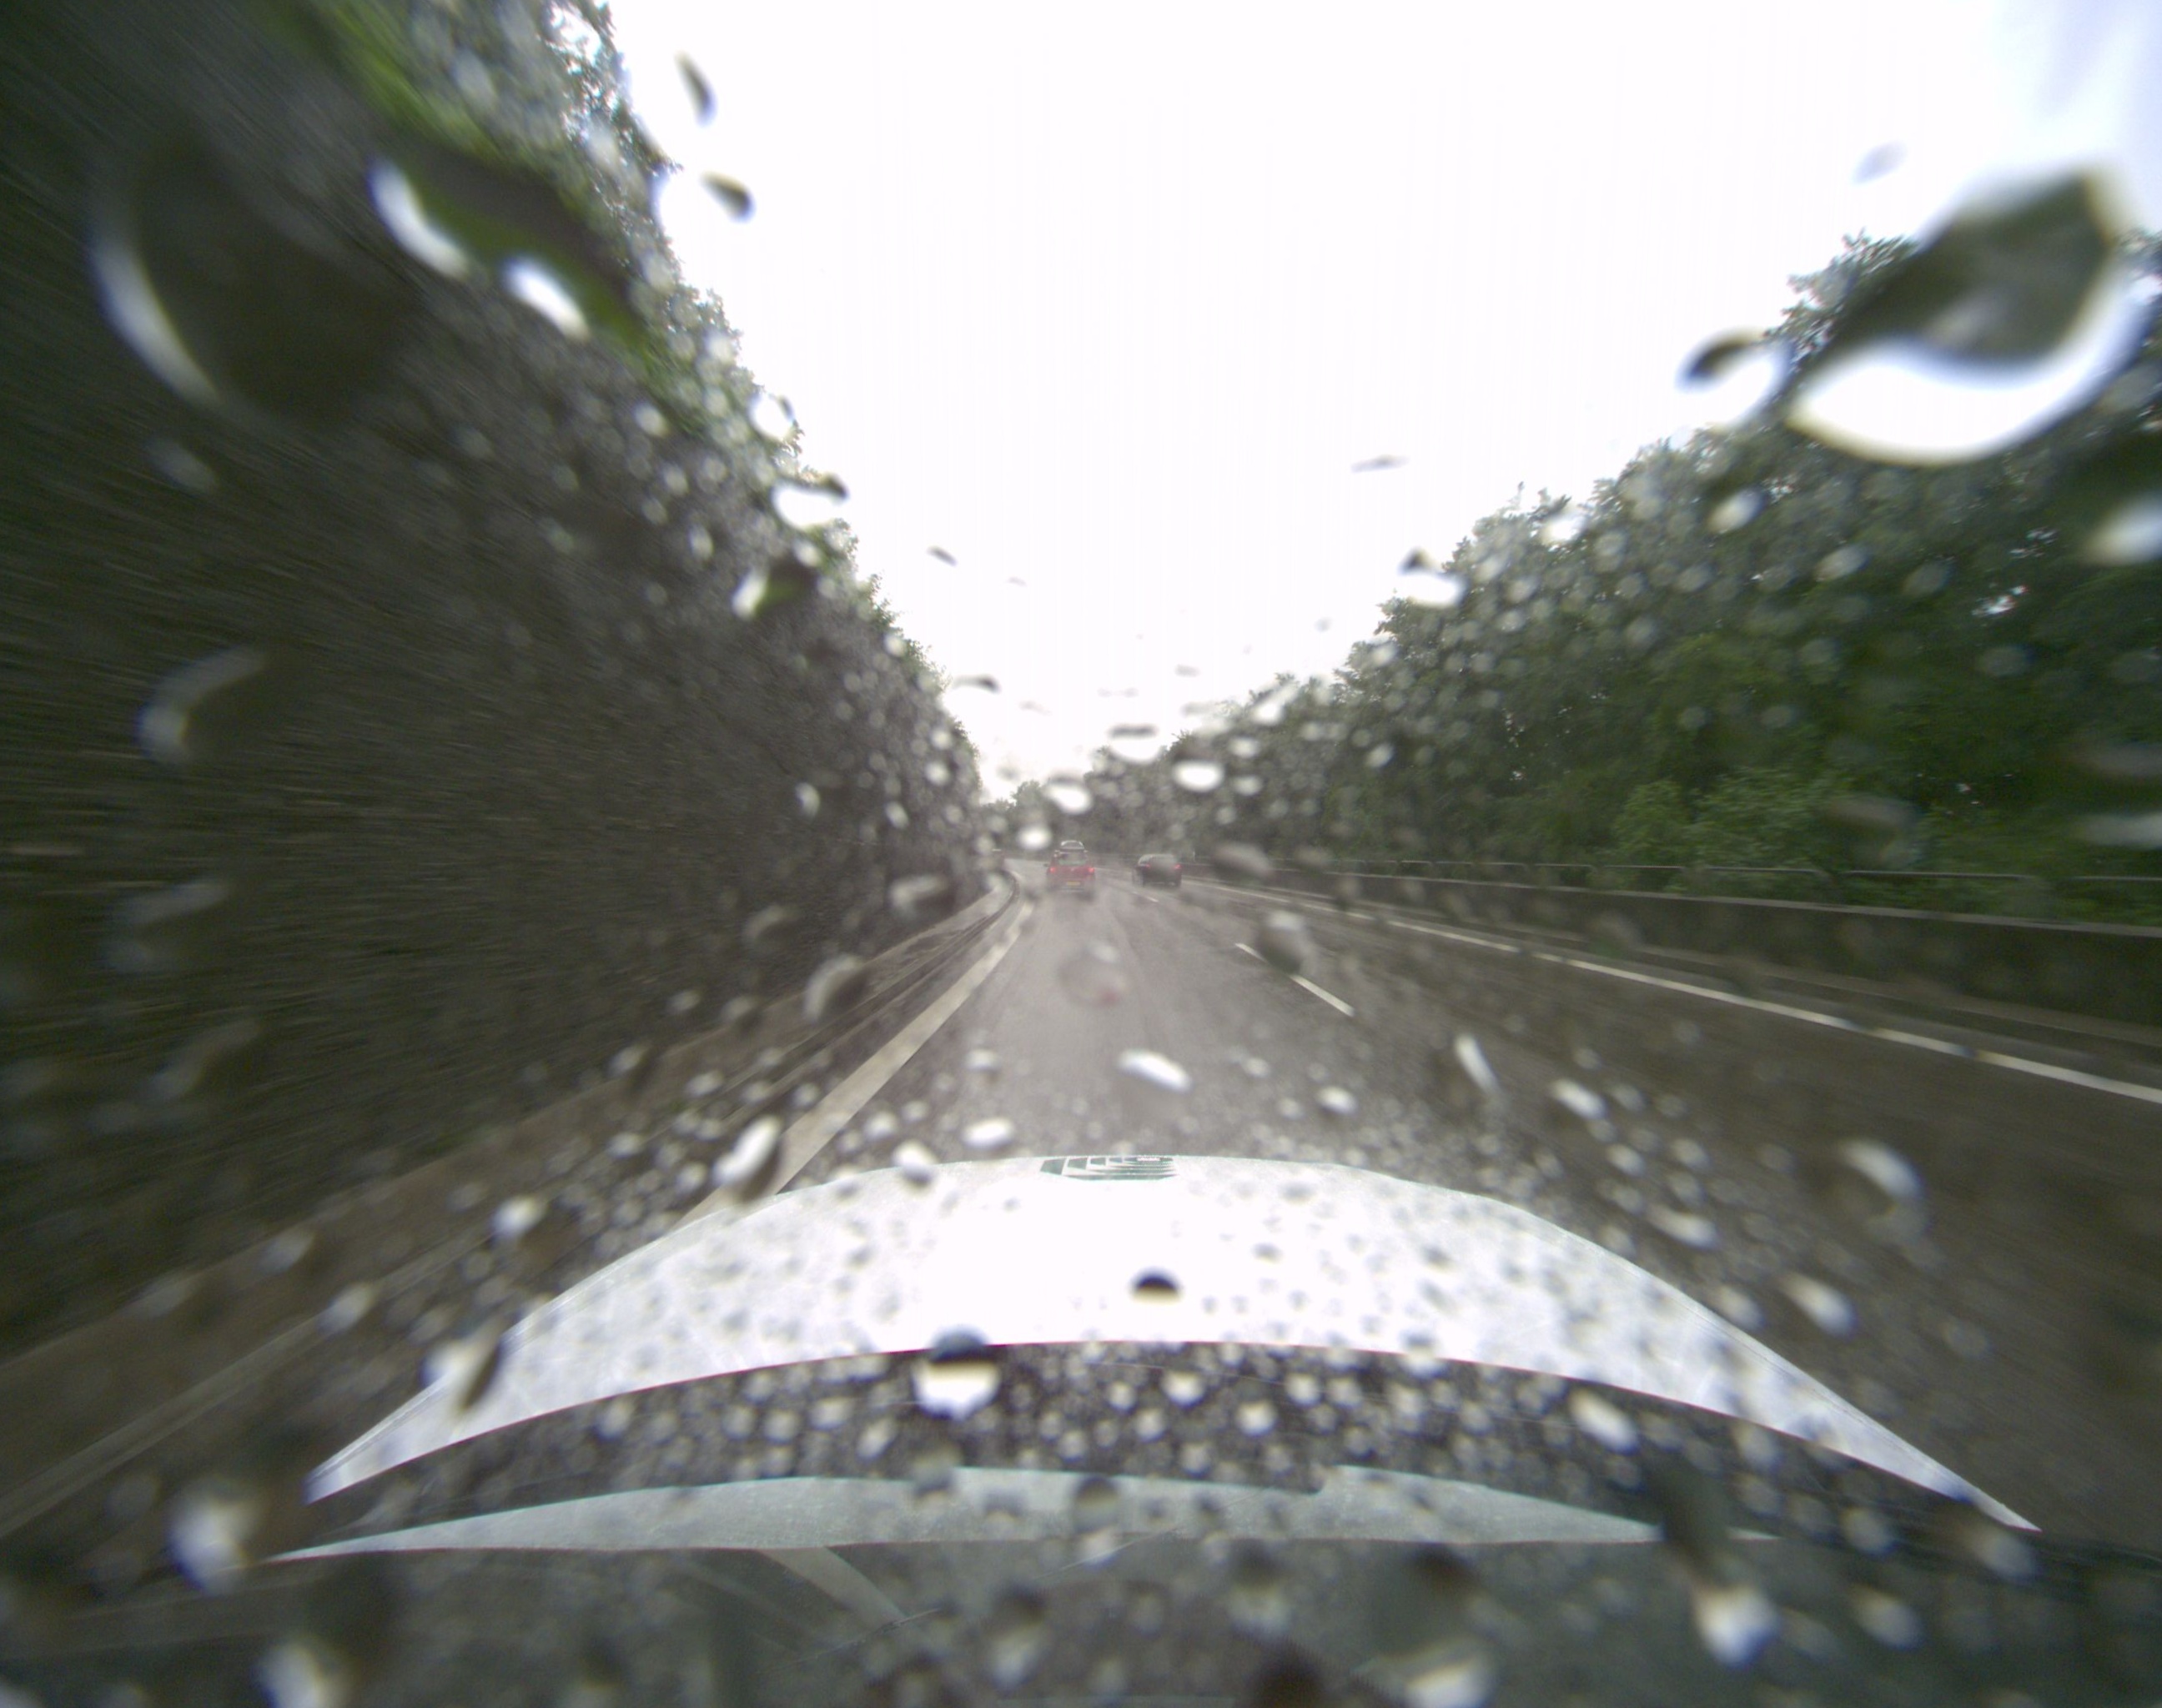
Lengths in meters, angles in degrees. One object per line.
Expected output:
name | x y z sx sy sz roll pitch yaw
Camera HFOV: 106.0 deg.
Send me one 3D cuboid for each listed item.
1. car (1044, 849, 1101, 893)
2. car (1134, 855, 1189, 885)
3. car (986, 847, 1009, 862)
car | -0.393 0.623 31.432 1.990 1.552 3.994 0 0 -4
car | 3.681 0.724 37.830 1.798 1.308 3.992 0 0 -6
car | -9.653 0.078 93.646 1.997 1.684 3.979 1 -1 -15
